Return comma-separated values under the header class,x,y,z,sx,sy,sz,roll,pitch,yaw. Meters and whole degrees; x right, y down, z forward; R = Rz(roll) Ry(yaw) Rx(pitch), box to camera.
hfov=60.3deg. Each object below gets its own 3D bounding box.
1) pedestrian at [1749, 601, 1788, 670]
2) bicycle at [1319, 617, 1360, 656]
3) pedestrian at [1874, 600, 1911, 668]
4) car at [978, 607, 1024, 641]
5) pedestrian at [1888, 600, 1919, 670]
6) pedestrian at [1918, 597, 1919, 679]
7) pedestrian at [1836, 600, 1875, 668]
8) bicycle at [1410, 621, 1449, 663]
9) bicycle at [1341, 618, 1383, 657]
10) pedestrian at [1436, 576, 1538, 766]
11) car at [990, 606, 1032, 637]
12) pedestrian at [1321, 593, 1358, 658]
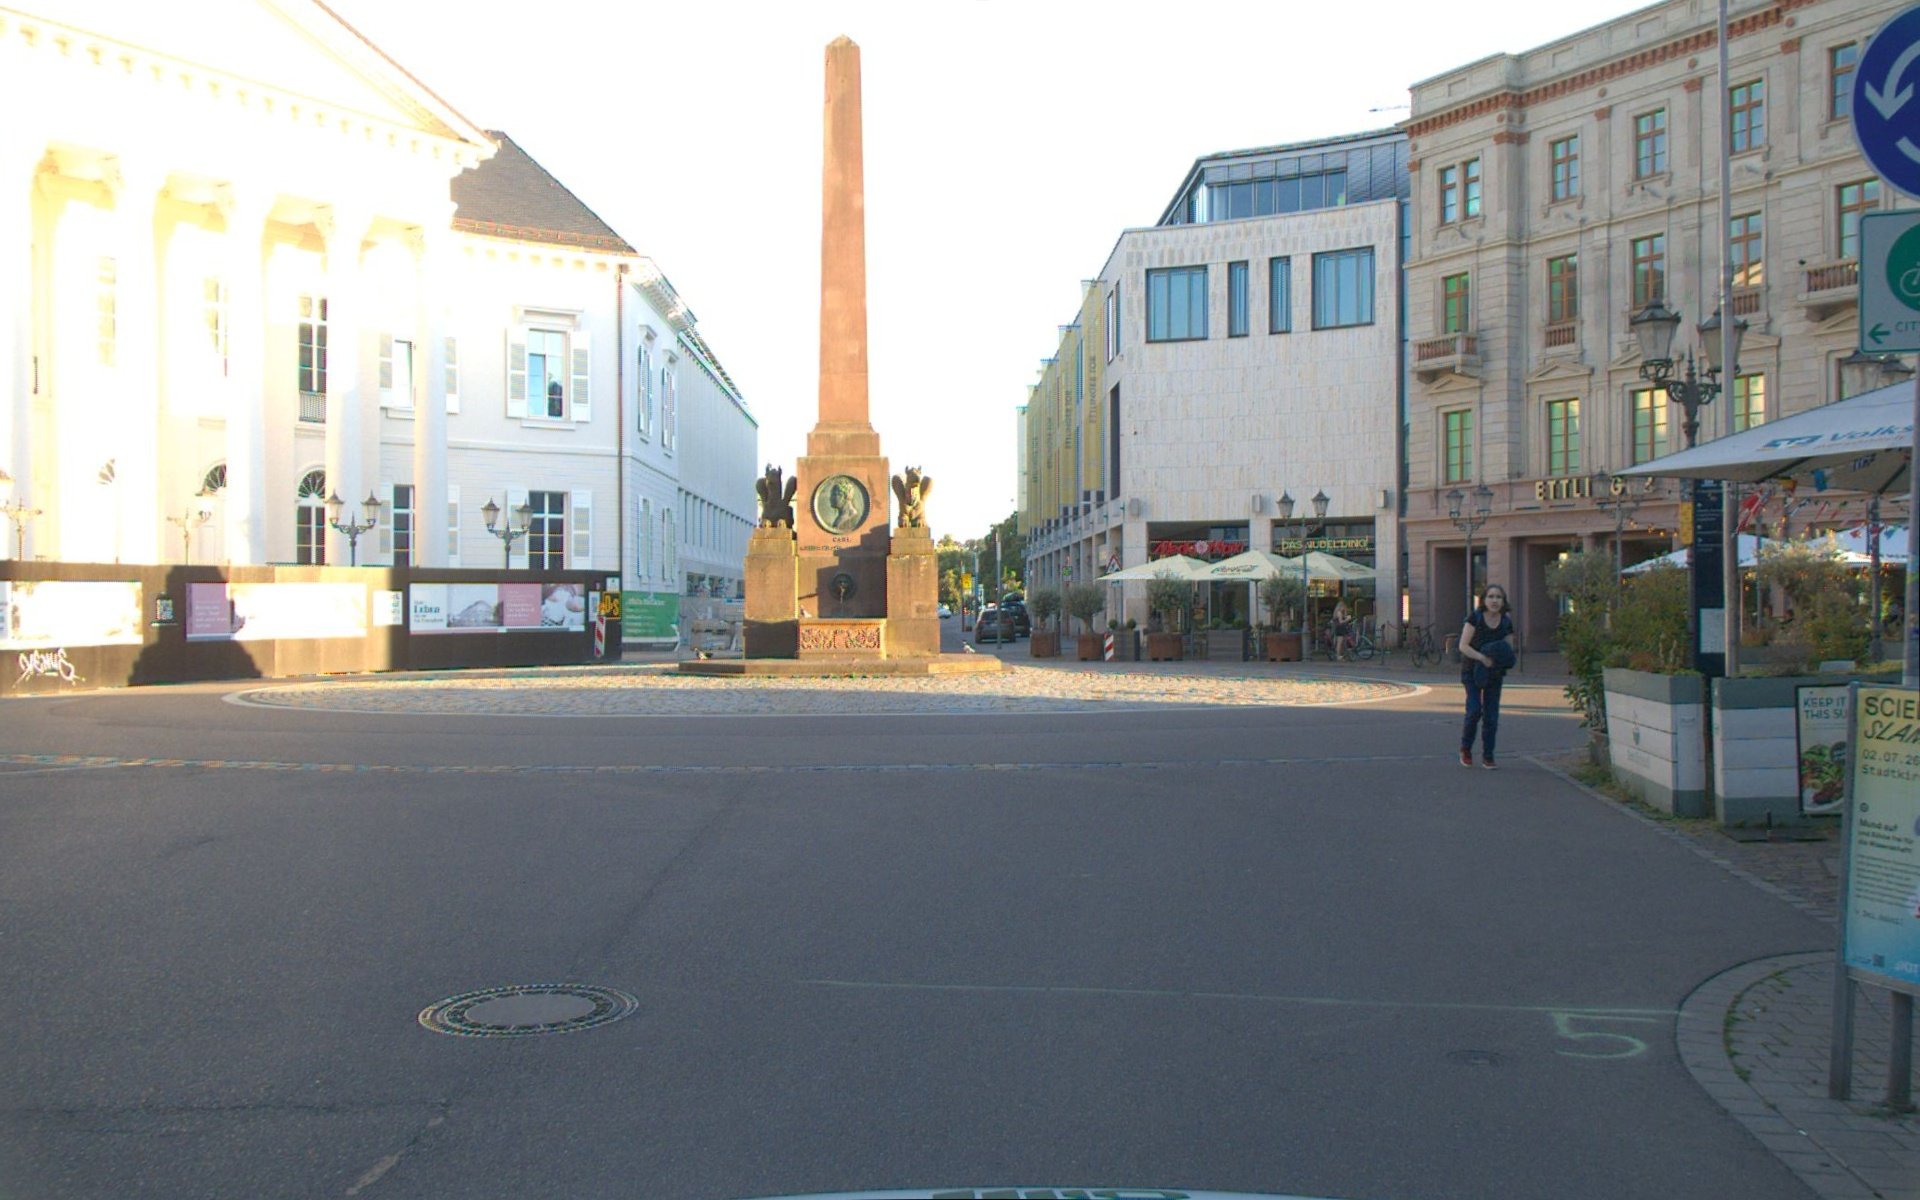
class,x,y,z,sx,sy,sz,roll,pitch,yaw
pedestrian,17.772,0.777,36.365,0.532,1.504,0.624,0,0,0
bicycle,10.653,1.016,46.415,0.589,1.050,1.640,0,0,34
pedestrian,20.875,0.754,37.036,0.532,1.504,0.625,0,0,10
car,1.791,1.058,73.905,1.953,1.489,4.000,0,0,0
pedestrian,20.724,0.751,36.034,0.611,1.504,0.622,0,0,-12
pedestrian,17.761,0.698,30.029,0.517,1.504,0.563,0,0,17
pedestrian,20.034,0.761,37.004,0.577,1.504,0.625,0,0,10
bicycle,12.128,1.074,42.678,0.497,1.050,1.640,0,0,34
bicycle,11.218,1.028,46.143,0.608,1.050,1.640,0,0,34
pedestrian,4.755,0.626,14.948,0.676,1.676,0.695,0,0,-2
car,2.521,1.033,82.396,1.953,1.489,4.000,0,0,0
pedestrian,10.323,0.691,44.959,0.885,1.759,0.850,0,0,7
